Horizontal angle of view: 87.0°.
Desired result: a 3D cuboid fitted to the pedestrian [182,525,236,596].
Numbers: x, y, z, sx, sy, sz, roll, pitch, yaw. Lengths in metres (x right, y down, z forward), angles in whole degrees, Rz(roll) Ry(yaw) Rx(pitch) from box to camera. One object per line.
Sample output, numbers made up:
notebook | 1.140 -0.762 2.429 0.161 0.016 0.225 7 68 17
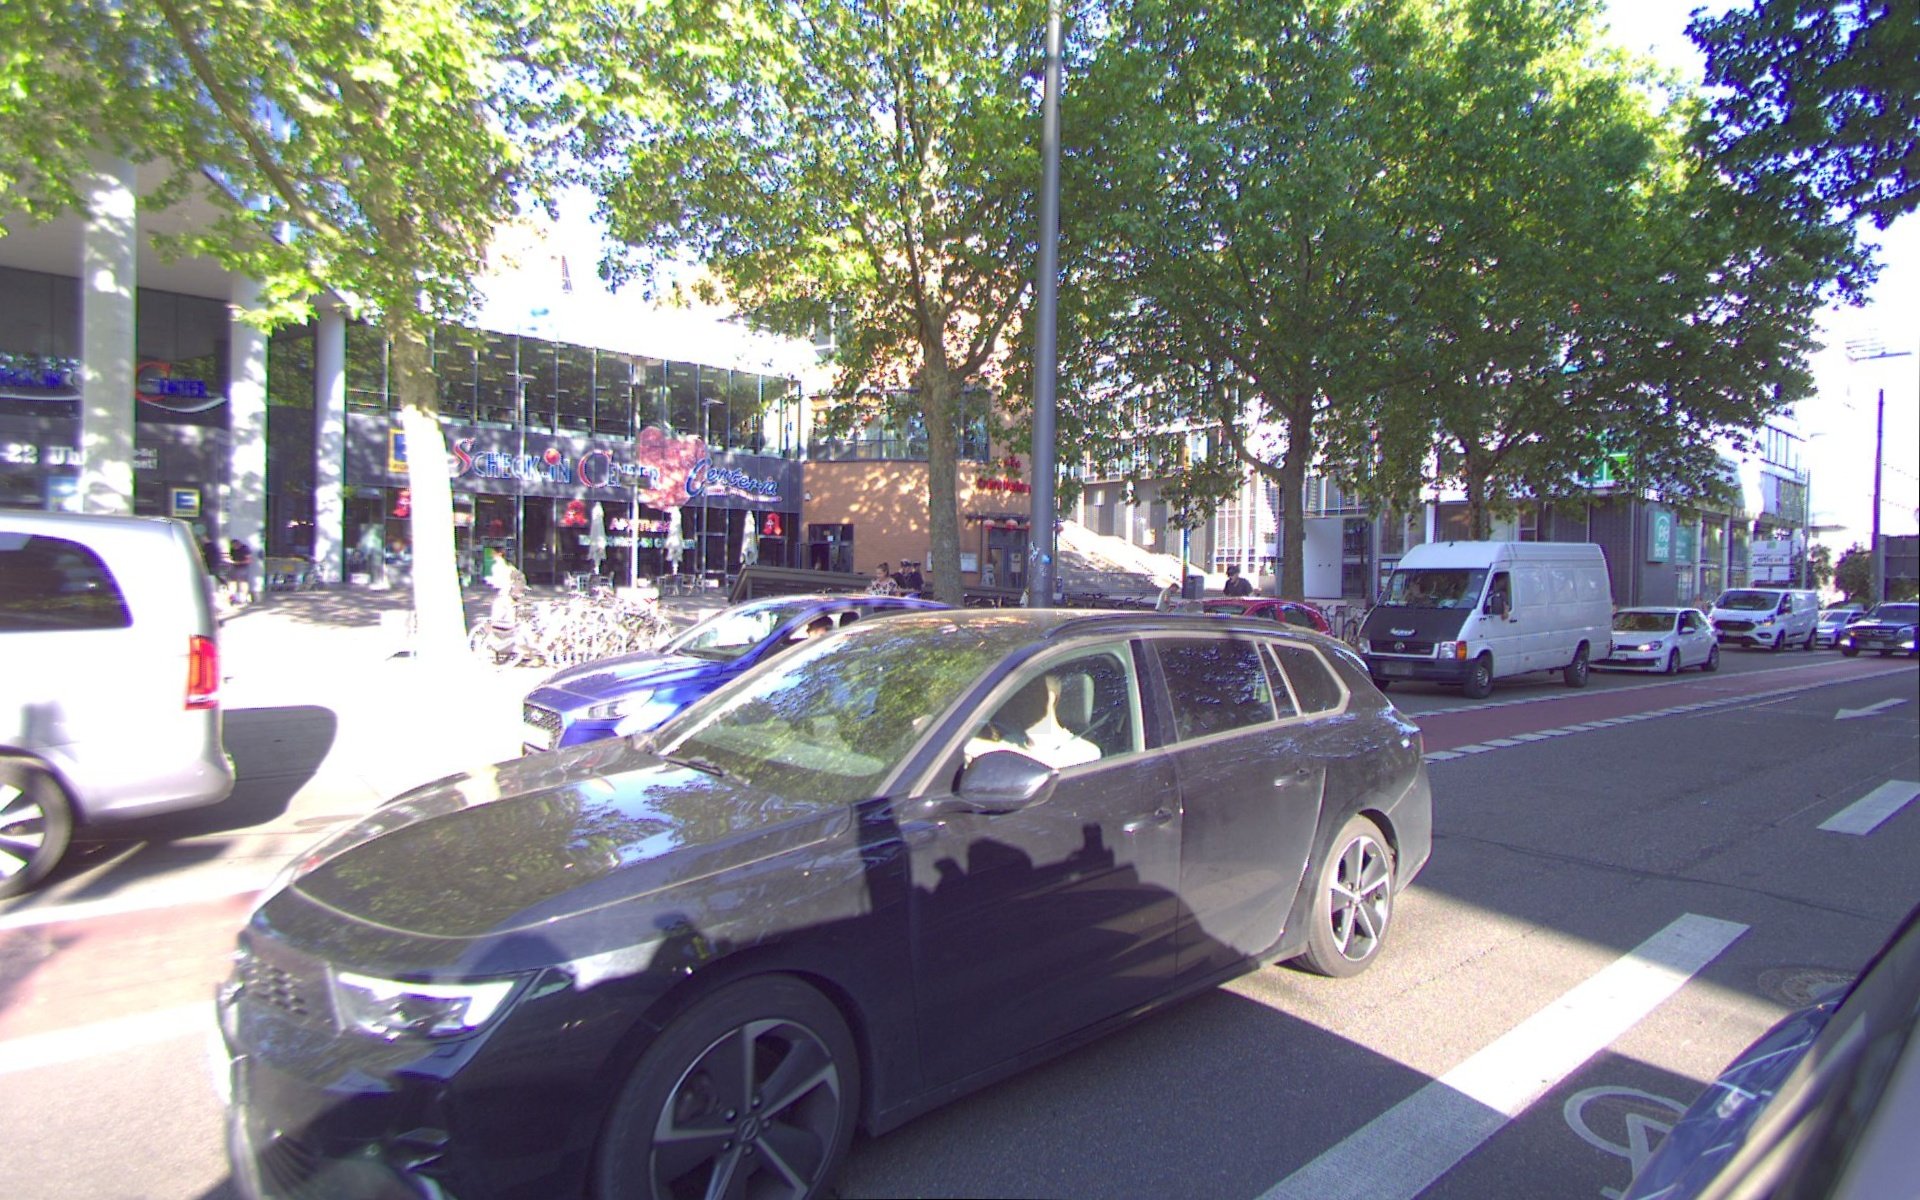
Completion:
pedestrian | -20.248 -1.055 27.300 0.834 1.866 1.002 1 1 -15

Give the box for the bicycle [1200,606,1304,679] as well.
bicycle | 4.964 0.687 17.116 2.088 1.135 0.551 0 1 -38

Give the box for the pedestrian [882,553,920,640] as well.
pedestrian | -1.242 -0.082 21.194 0.755 1.779 0.821 1 1 -4

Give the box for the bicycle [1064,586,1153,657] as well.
bicycle | 2.833 0.386 19.256 1.843 1.280 0.596 0 1 -41

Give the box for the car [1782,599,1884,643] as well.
car | 31.305 0.714 36.277 3.944 1.437 1.788 0 2 -34

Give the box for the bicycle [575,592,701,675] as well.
bicycle | -4.443 0.438 14.000 1.542 1.070 0.630 0 1 -35

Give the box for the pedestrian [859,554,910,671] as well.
pedestrian | -1.214 0.186 16.128 0.644 1.808 0.810 1 1 -14

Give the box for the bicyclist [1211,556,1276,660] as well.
bicyclist | 4.765 0.121 17.032 0.701 1.709 0.752 1 1 -37

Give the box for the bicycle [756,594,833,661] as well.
bicycle | -3.035 0.481 18.679 0.420 1.174 1.455 2 1 41

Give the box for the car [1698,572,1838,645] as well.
car | 26.265 0.245 32.837 5.189 2.160 2.130 0 2 -35

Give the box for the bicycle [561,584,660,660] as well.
bicycle | -5.669 0.342 16.456 1.450 1.174 0.421 0 1 -40

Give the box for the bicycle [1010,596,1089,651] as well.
bicycle | 1.812 0.443 20.282 1.626 1.044 0.596 0 2 -41

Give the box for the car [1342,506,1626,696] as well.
car | 9.279 0.009 17.586 6.443 2.759 1.998 0 0 -39

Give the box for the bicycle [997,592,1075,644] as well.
bicycle | 1.793 0.398 23.924 1.764 1.140 0.561 2 1 31

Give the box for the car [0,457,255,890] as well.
car | -6.242 0.336 4.411 5.047 1.991 1.997 0 0 -41

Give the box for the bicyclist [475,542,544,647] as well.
bicyclist | -7.959 -0.106 17.918 0.837 1.789 0.752 1 1 5

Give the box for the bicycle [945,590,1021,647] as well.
bicycle | 0.499 0.384 21.678 1.662 1.174 0.479 0 1 -37

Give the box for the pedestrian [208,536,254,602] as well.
pedestrian | -18.870 -0.807 26.197 0.851 1.661 0.966 0 1 -44

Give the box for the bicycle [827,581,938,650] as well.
bicycle | -1.328 0.262 17.279 1.788 1.130 0.598 1 1 -13

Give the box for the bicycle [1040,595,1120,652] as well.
bicycle | 2.346 0.435 19.732 1.626 1.044 0.596 0 2 -41

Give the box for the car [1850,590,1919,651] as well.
car | 28.144 0.581 29.720 3.941 1.658 1.789 0 1 -30

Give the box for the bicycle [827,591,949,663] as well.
bicycle | -1.182 0.441 16.562 1.908 1.130 0.598 1 1 -13

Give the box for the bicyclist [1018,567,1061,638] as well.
bicyclist | 1.879 0.043 23.867 0.815 1.636 0.558 2 1 31

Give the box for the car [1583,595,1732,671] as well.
car | 15.518 0.669 22.470 3.798 1.482 1.671 0 2 -38

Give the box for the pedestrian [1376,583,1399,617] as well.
pedestrian | 18.935 0.000 44.820 0.589 1.474 0.713 1 1 -37

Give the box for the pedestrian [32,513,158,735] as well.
pedestrian | -7.534 0.180 8.842 0.794 1.808 0.873 0 1 -41

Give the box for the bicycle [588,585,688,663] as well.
bicycle | -5.094 0.360 16.047 1.451 1.174 0.421 0 1 -42

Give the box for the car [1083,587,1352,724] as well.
car | 3.339 0.597 12.821 3.558 1.482 1.561 0 1 -41

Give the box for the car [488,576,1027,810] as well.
car | -1.537 0.583 8.569 4.143 1.482 1.768 0 2 -41

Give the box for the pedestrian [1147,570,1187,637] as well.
pedestrian | 5.232 0.082 25.559 0.623 1.651 0.719 1 1 -34

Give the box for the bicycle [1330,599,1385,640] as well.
bicycle | 10.668 0.504 27.127 1.624 1.060 0.597 0 1 -37

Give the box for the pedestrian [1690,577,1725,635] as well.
pedestrian | 26.459 0.208 35.814 0.652 2.039 0.809 0 0 -34

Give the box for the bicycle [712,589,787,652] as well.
bicycle | -4.105 0.378 19.807 0.420 1.174 1.455 2 1 41

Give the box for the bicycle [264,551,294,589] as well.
bicycle | -21.351 -0.939 31.746 0.705 1.142 1.921 1 2 -32

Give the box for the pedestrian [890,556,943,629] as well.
pedestrian | -1.073 -0.193 24.986 1.000 1.779 0.789 0 1 -35

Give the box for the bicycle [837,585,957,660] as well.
bicycle | -1.002 0.345 15.923 1.788 1.130 0.598 1 1 -13

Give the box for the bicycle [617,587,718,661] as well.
bicycle | -4.479 0.351 15.566 1.451 1.095 0.421 0 1 -42

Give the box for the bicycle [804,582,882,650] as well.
bicycle | -2.098 0.270 18.275 0.478 1.174 1.455 2 1 41

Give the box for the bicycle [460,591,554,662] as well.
bicycle | -6.937 0.402 15.518 1.293 1.038 0.397 1 1 -24

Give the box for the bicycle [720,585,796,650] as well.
bicycle | -3.843 0.317 19.341 0.420 1.174 1.455 2 1 41

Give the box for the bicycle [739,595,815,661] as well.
bicycle | -3.424 0.506 19.015 0.420 1.174 1.455 2 1 41

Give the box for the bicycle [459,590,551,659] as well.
bicycle | -7.161 0.381 15.956 1.293 1.038 0.397 1 1 -24

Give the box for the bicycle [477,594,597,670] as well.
bicycle | -6.144 0.437 14.755 1.546 1.038 0.461 0 2 -43

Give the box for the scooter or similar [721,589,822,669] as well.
scooter or similar | -2.925 0.438 15.719 1.249 1.156 0.905 -2 0 37

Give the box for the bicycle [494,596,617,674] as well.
bicycle | -5.709 0.471 14.327 1.546 1.038 0.461 0 2 -43

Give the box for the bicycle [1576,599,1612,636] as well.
bicycle | 20.604 0.550 32.876 1.511 1.173 0.514 0 1 -39

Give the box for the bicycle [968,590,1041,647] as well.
bicycle | 0.953 0.378 21.325 1.626 1.151 0.503 0 1 -41

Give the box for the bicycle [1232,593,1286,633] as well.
bicycle | 8.441 0.357 28.531 1.624 1.060 0.597 0 1 -37

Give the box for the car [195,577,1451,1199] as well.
car | -0.063 0.679 3.702 4.270 1.443 1.825 0 0 -41

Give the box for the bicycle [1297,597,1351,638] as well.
bicycle | 10.035 0.468 27.863 1.624 1.060 0.597 0 1 -37

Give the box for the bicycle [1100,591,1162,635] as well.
bicycle | 4.569 0.337 27.003 1.622 1.140 0.598 0 1 -32

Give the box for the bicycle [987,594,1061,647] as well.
bicycle | 1.334 0.412 20.892 1.626 1.044 0.503 0 1 -41

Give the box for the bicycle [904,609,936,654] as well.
bicycle | -0.748 0.569 18.747 0.391 0.770 1.114 1 1 -13

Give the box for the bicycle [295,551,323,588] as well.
bicycle | -20.713 -0.978 32.221 0.705 1.142 1.921 1 2 -32
